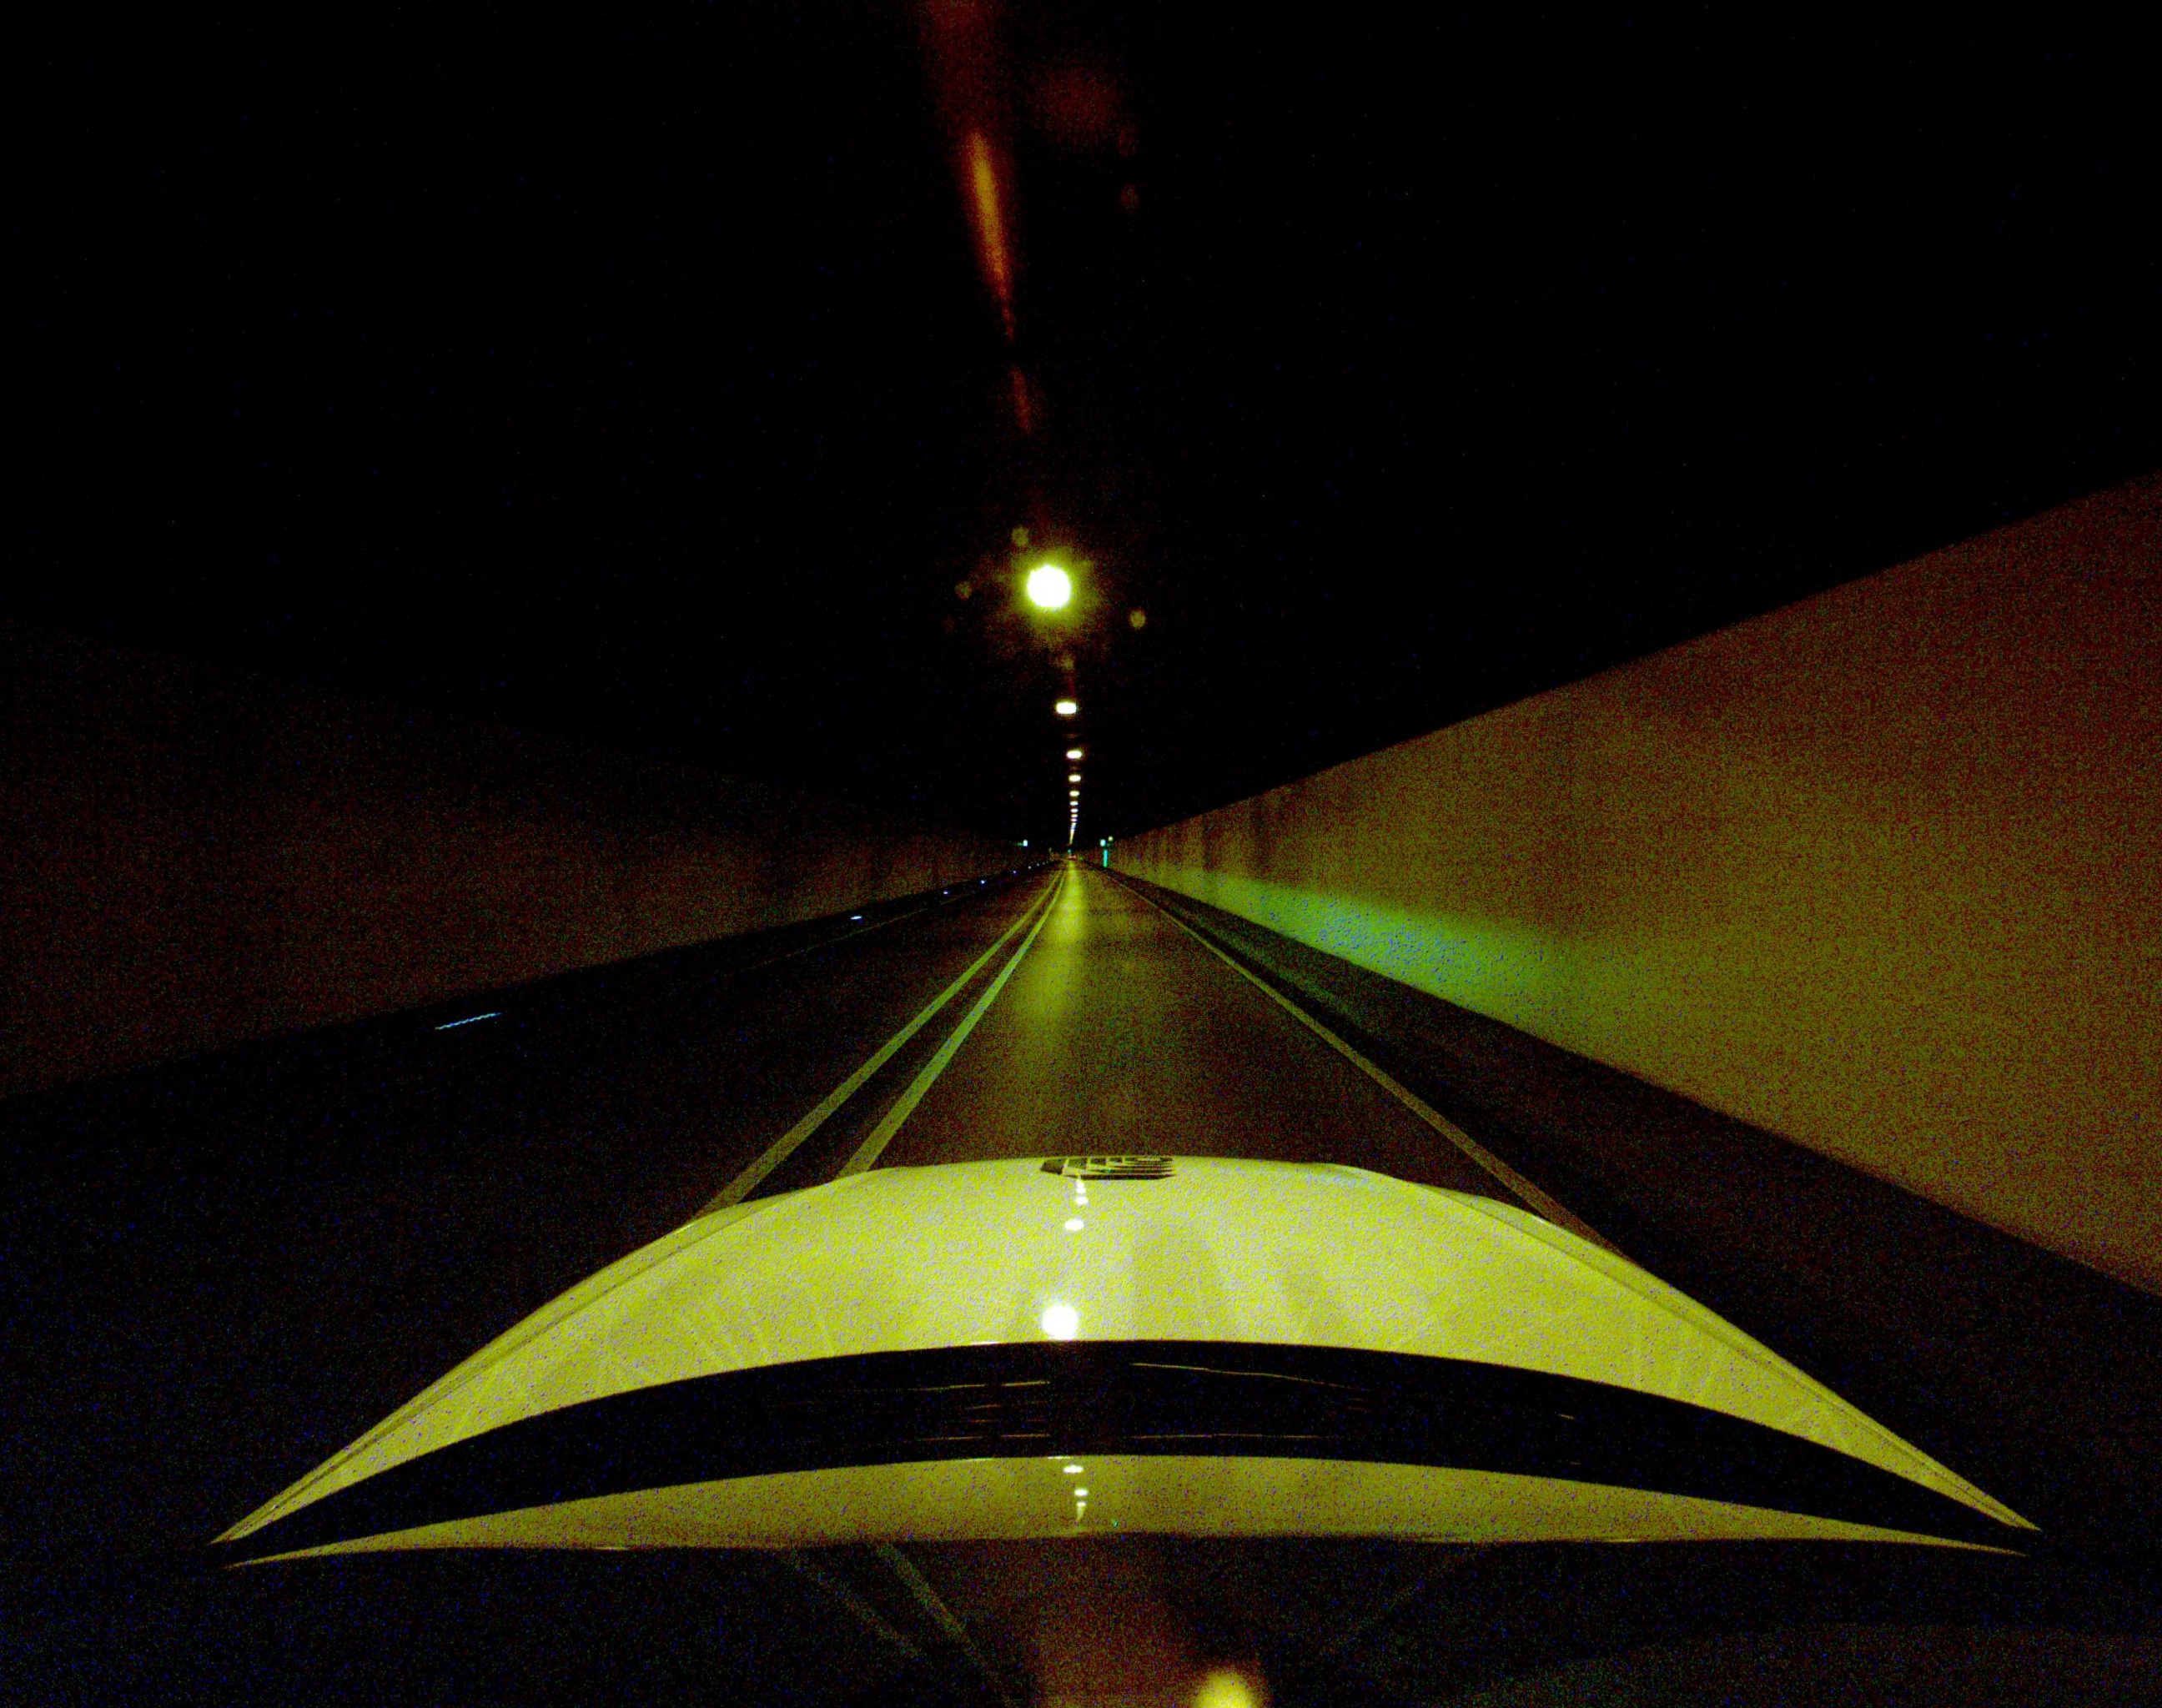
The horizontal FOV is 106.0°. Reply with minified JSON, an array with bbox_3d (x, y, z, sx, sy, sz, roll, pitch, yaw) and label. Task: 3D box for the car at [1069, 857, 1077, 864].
[{"bbox_3d":[-2.299,1.729,226.283,1.964,1.939,4.603,1,-1,-5],"label":"car"}]
